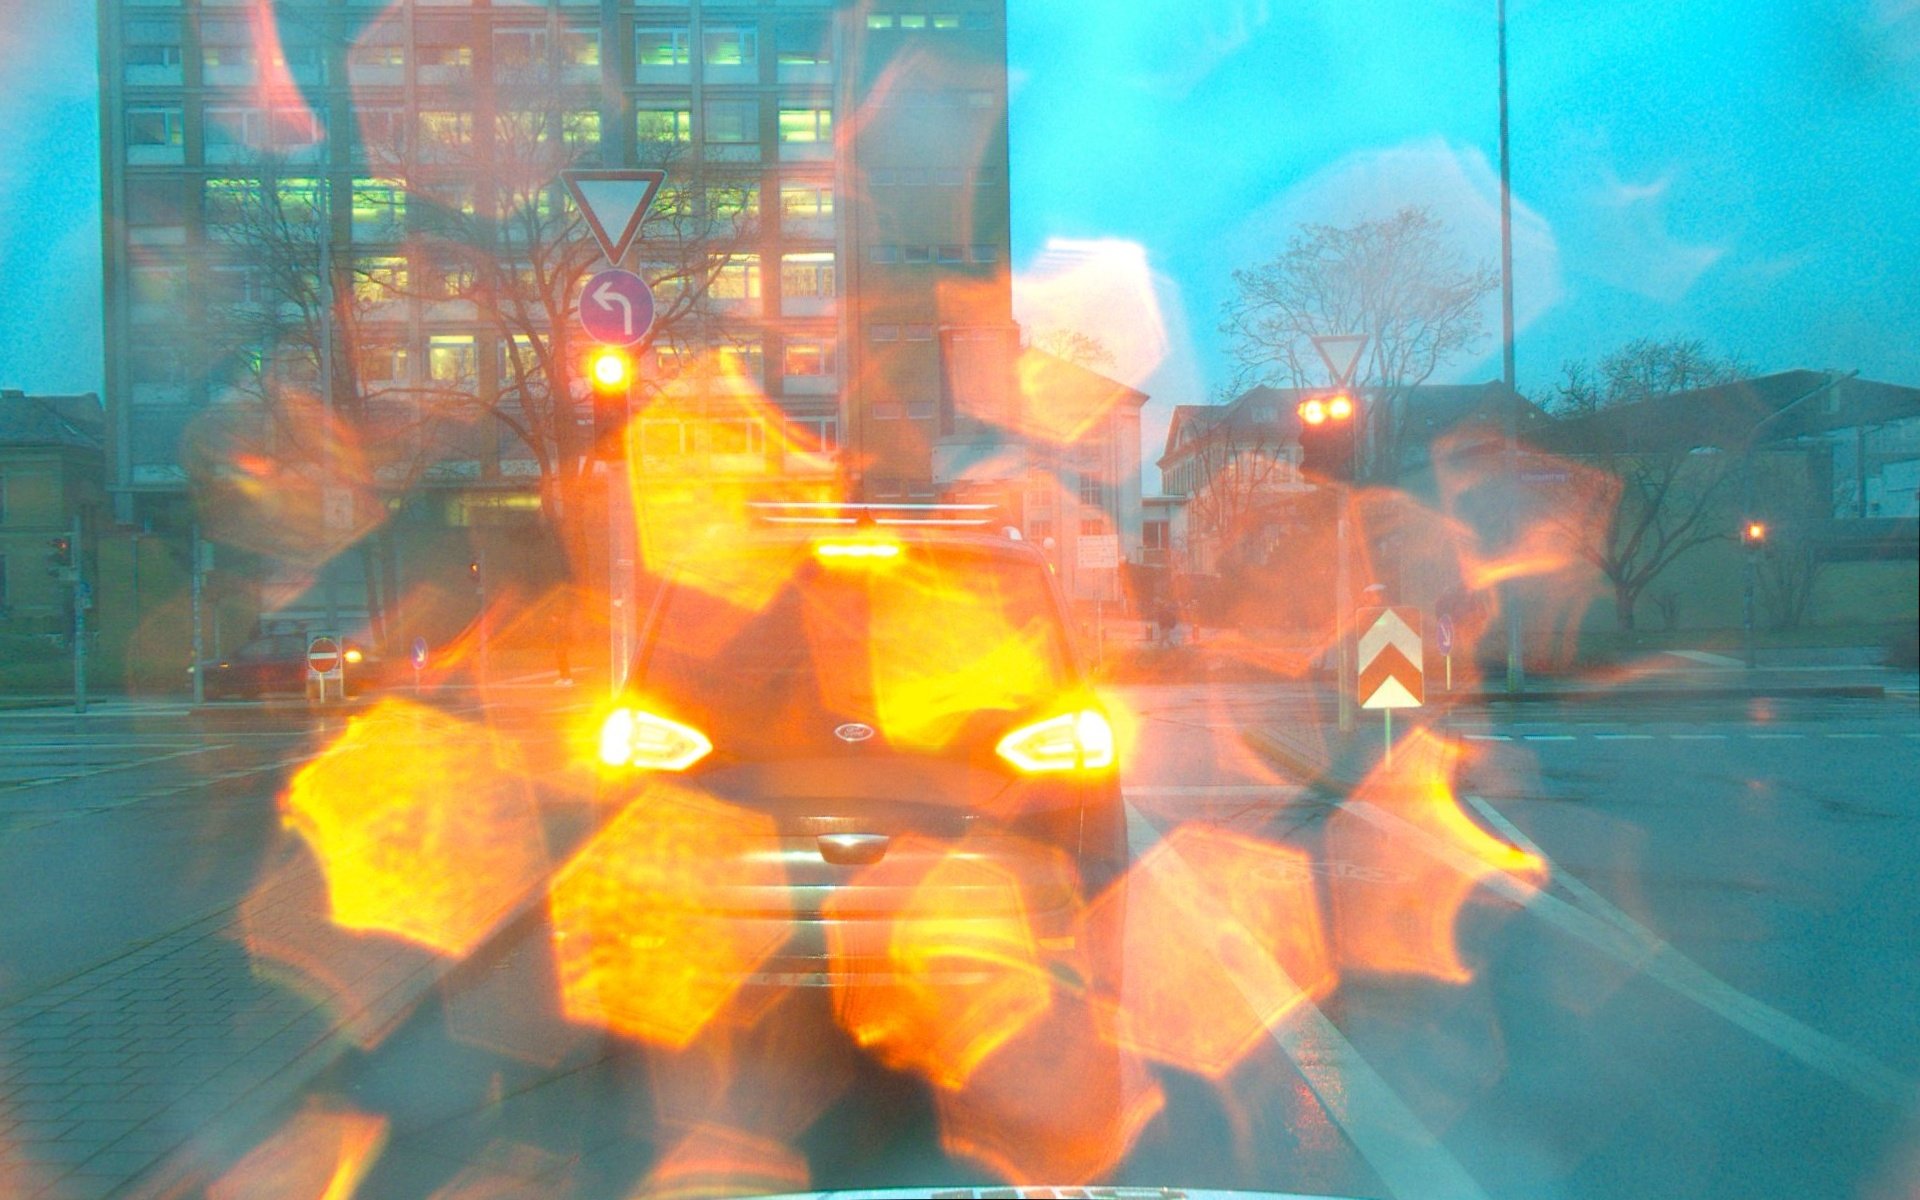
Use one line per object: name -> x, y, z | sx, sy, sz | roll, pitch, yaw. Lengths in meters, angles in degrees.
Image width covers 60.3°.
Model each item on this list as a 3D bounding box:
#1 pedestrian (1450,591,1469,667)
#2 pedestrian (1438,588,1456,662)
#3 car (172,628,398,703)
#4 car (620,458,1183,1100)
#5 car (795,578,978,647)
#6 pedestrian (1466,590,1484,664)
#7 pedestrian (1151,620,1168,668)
pedestrian -> 12.451, 0.719, 41.209 | 0.448, 1.871, 0.439 | 0, -2, 16
pedestrian -> 12.444, 0.633, 42.264 | 0.428, 1.871, 0.460 | 0, -2, 17
car -> -15.180, 1.460, 37.290 | 4.338, 1.608, 1.969 | 0, -2, 12
car -> -0.196, 0.504, 6.783 | 1.613, 1.850, 3.999 | 0, 0, -1
car -> -2.230, 0.397, 51.079 | 5.429, 2.060, 2.001 | 0, -2, 5
pedestrian -> 13.139, 0.683, 42.165 | 0.428, 1.871, 0.460 | 0, -2, 18
pedestrian -> 5.335, 1.176, 44.202 | 0.423, 1.292, 0.442 | 0, -2, 11
